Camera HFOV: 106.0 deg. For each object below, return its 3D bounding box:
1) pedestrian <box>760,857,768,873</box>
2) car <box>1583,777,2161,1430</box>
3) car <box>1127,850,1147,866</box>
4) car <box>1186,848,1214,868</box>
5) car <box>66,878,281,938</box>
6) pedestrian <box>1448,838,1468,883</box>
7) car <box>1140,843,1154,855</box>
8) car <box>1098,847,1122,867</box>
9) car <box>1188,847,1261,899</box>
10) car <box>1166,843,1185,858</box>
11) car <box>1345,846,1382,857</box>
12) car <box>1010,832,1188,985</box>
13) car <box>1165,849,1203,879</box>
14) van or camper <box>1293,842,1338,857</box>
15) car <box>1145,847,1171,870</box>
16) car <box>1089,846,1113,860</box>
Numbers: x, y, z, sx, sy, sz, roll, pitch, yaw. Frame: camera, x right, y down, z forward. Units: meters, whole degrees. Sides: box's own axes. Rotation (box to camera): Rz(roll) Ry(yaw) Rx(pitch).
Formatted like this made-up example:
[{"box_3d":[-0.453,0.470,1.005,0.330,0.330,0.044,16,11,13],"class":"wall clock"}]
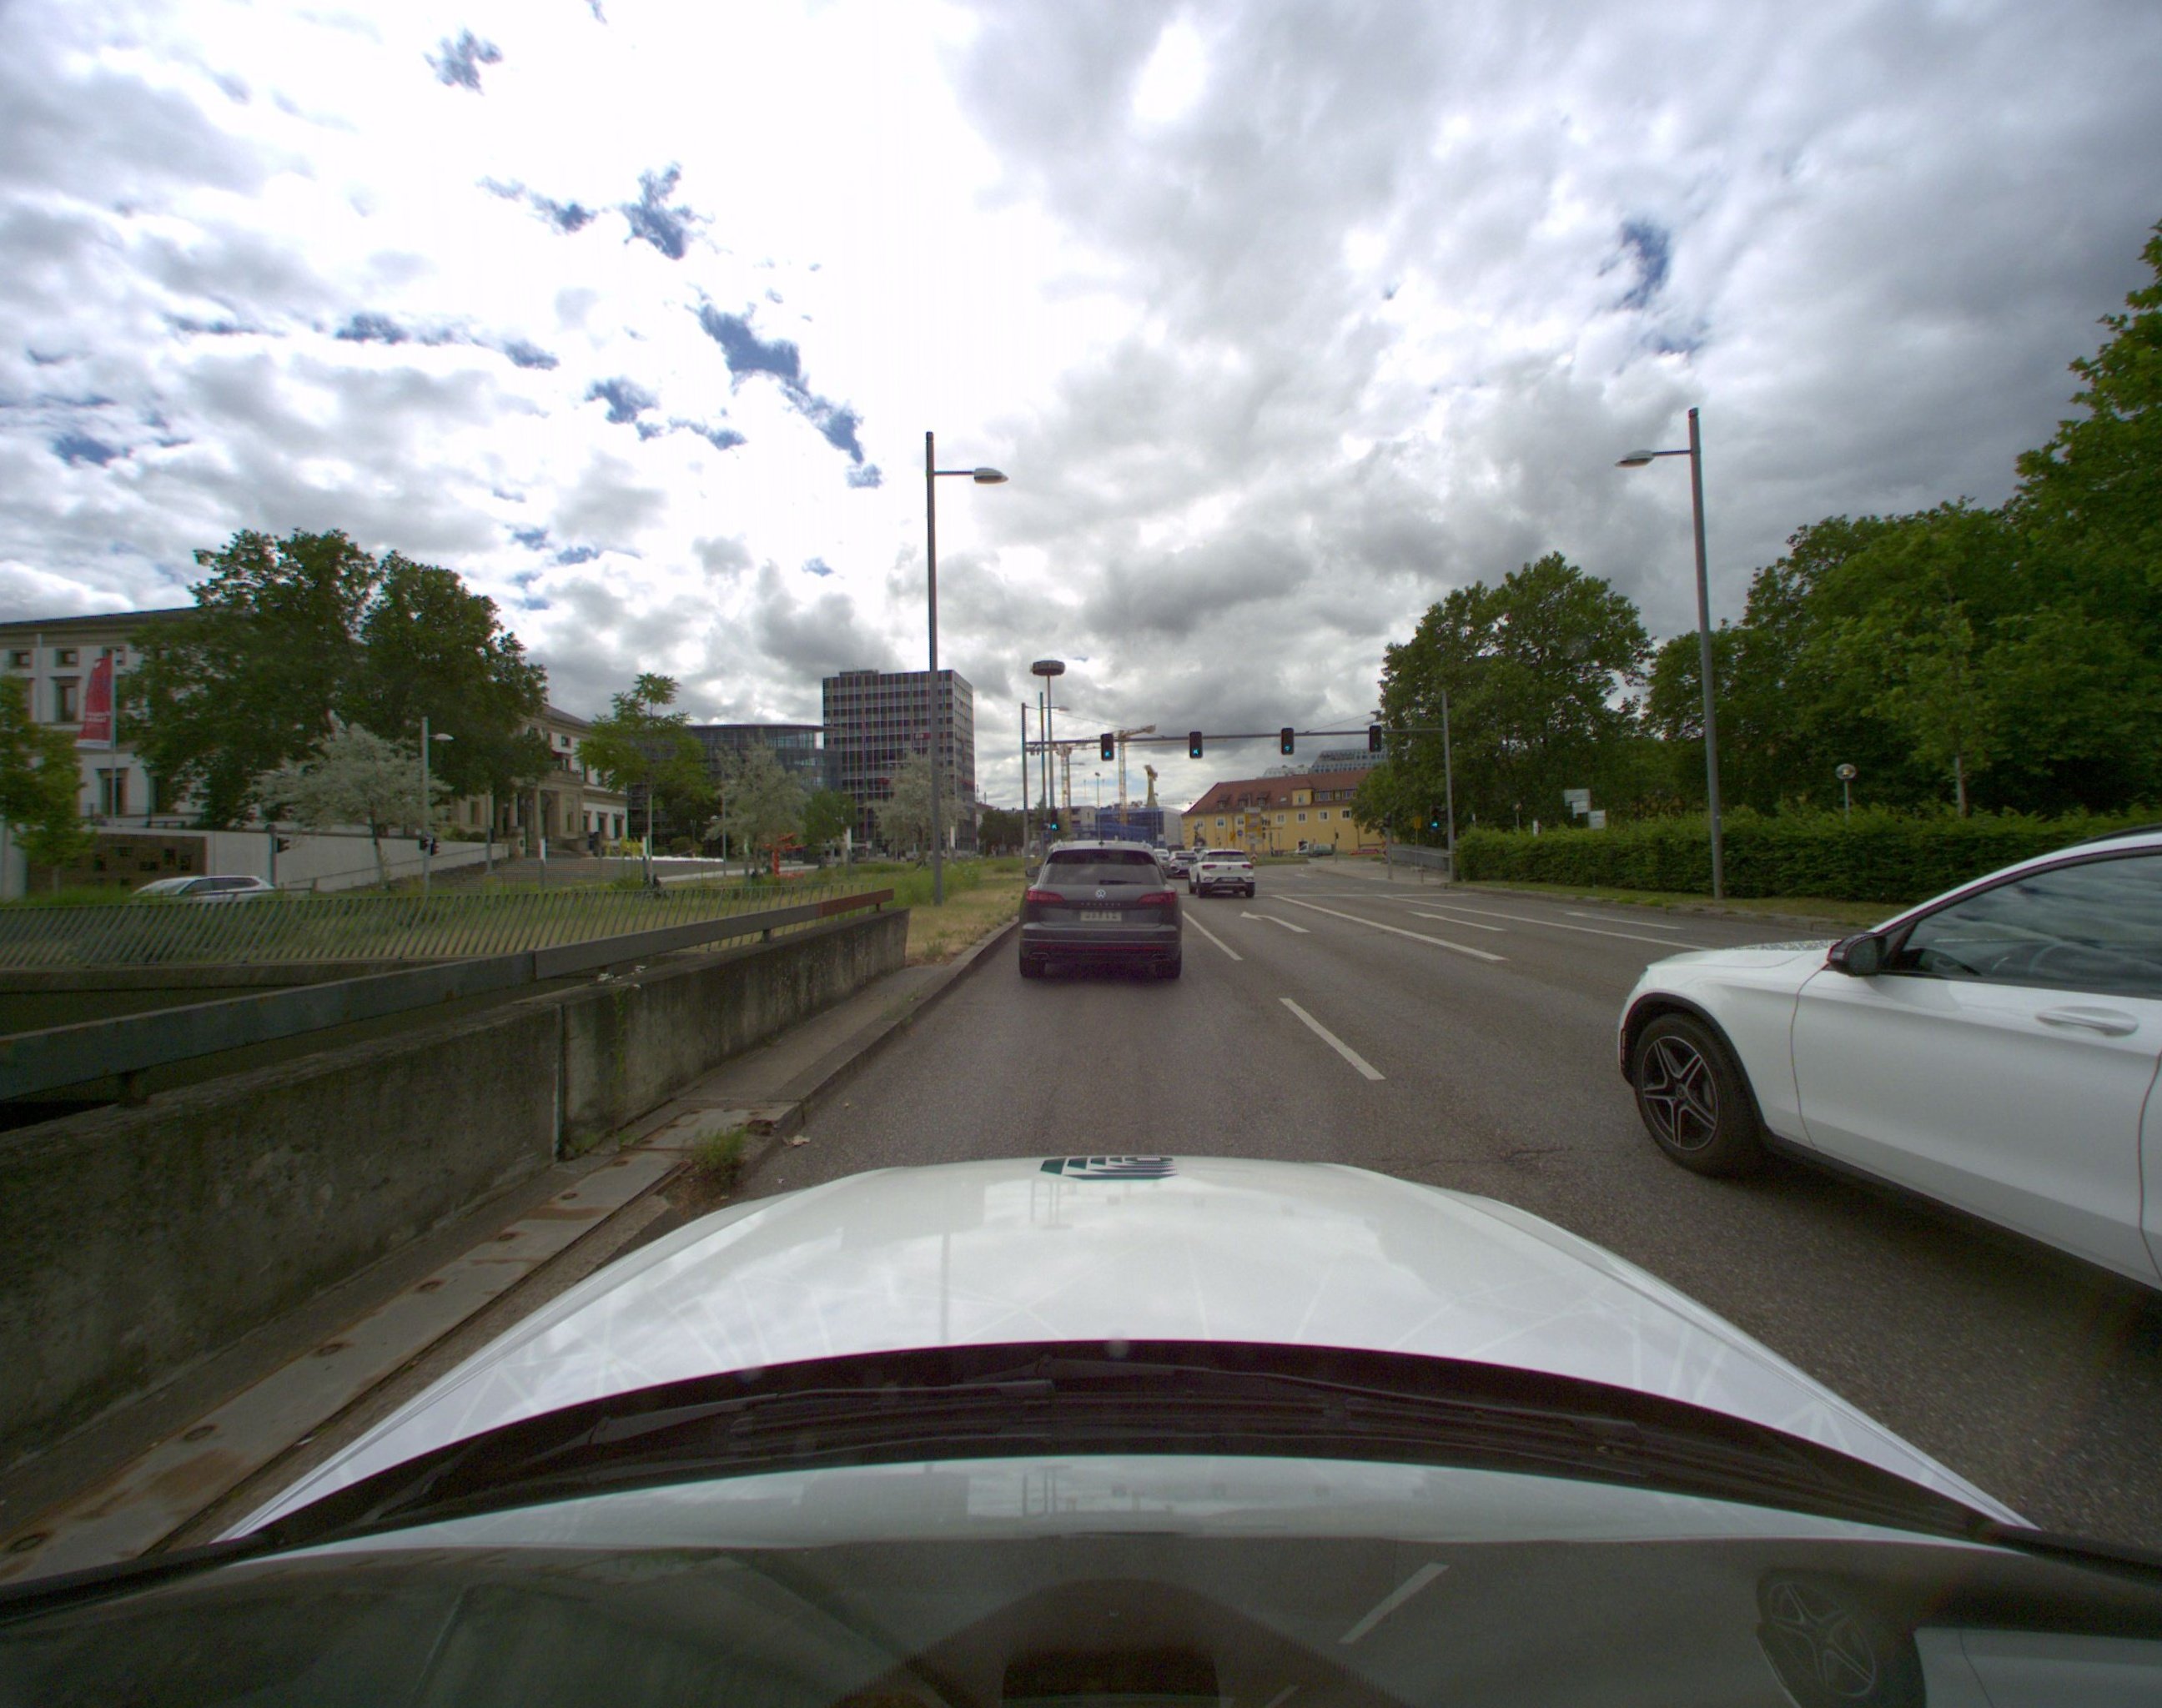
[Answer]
[{"box_3d":[-33.304,1.117,85.493,0.522,1.649,0.651,0,0,1],"class":"pedestrian"},{"box_3d":[3.636,0.613,2.352,1.812,1.647,4.382,-1,1,2],"class":"car"},{"box_3d":[6.237,0.405,91.360,2.131,1.728,4.072,-1,0,2],"class":"car"},{"box_3d":[9.190,0.273,63.204,1.795,1.502,3.985,-1,1,3],"class":"car"},{"box_3d":[-29.697,1.690,26.918,1.711,1.574,4.617,-1,1,3],"class":"car"},{"box_3d":[14.956,0.242,32.300,0.477,1.764,0.620,-1,0,-1],"class":"pedestrian"},{"box_3d":[10.770,-0.820,132.580,1.986,2.013,4.002,-1,0,2],"class":"car"},{"box_3d":[2.294,0.238,64.950,1.807,1.496,3.908,-1,1,2],"class":"car"},{"box_3d":[4.662,0.566,26.996,1.886,1.585,3.803,-1,1,2],"class":"car"},{"box_3d":[9.833,-0.353,85.255,1.711,1.502,3.985,-1,1,3],"class":"car"},{"box_3d":[40.137,-0.322,115.710,4.632,1.420,1.607,-1,0,34],"class":"car"},{"box_3d":[0.268,0.577,10.949,1.925,1.647,4.002,-1,1,2],"class":"car"},{"box_3d":[5.375,0.487,42.869,1.711,1.502,4.147,-1,1,3],"class":"car"},{"box_3d":[34.471,-0.624,119.837,5.947,2.013,2.032,-1,0,38],"class":"van or camper"},{"box_3d":[5.349,0.313,56.678,1.710,1.502,3.987,-1,1,5],"class":"car"},{"box_3d":[2.210,-0.161,90.477,2.240,1.502,4.604,-1,1,-4],"class":"car"}]
